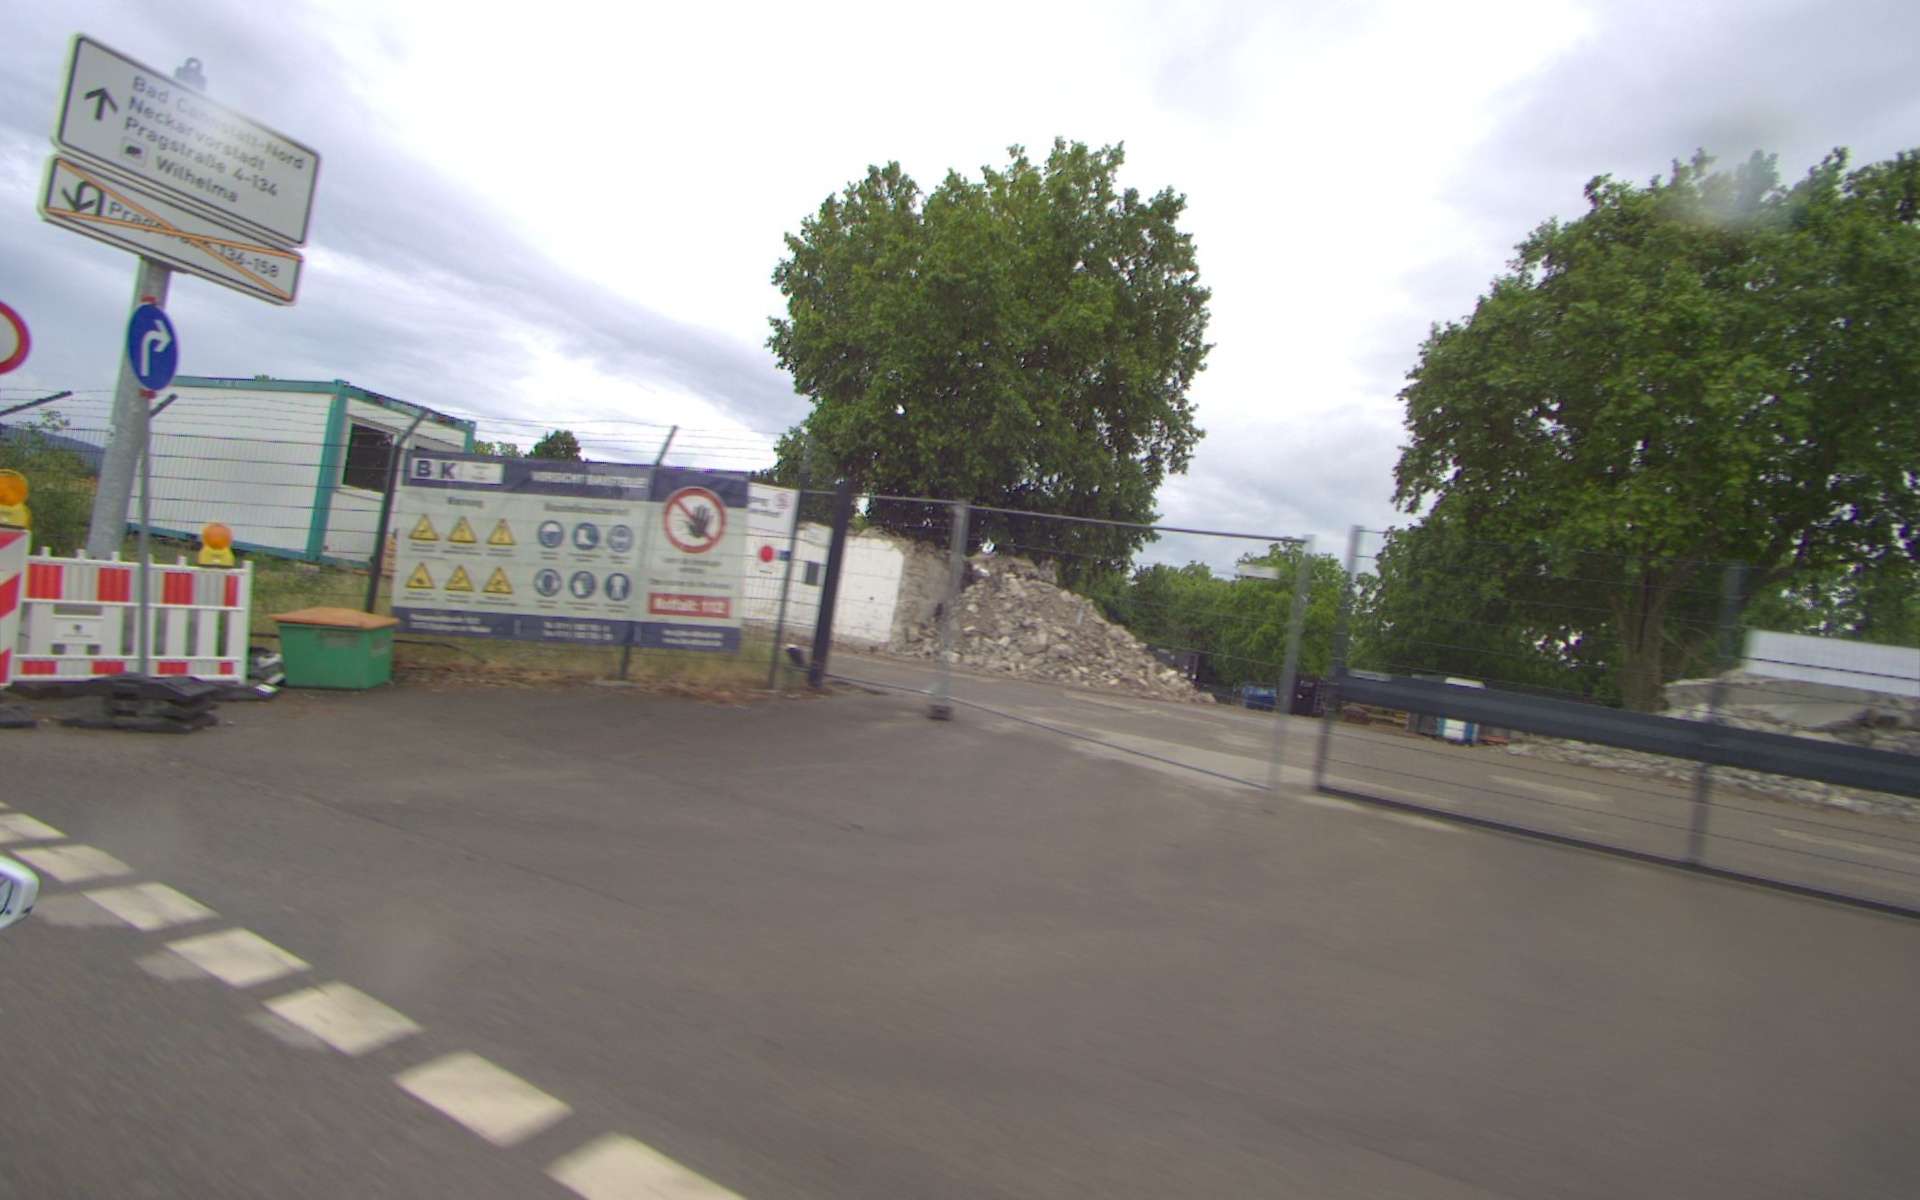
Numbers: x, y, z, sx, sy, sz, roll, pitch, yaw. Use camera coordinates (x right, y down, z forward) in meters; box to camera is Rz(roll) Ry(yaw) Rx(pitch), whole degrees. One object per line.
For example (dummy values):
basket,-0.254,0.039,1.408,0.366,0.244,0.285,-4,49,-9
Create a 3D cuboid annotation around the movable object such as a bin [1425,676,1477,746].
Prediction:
movable object such as a bin,17.199,3.896,35.236,1.094,2.278,1.378,6,-2,41
